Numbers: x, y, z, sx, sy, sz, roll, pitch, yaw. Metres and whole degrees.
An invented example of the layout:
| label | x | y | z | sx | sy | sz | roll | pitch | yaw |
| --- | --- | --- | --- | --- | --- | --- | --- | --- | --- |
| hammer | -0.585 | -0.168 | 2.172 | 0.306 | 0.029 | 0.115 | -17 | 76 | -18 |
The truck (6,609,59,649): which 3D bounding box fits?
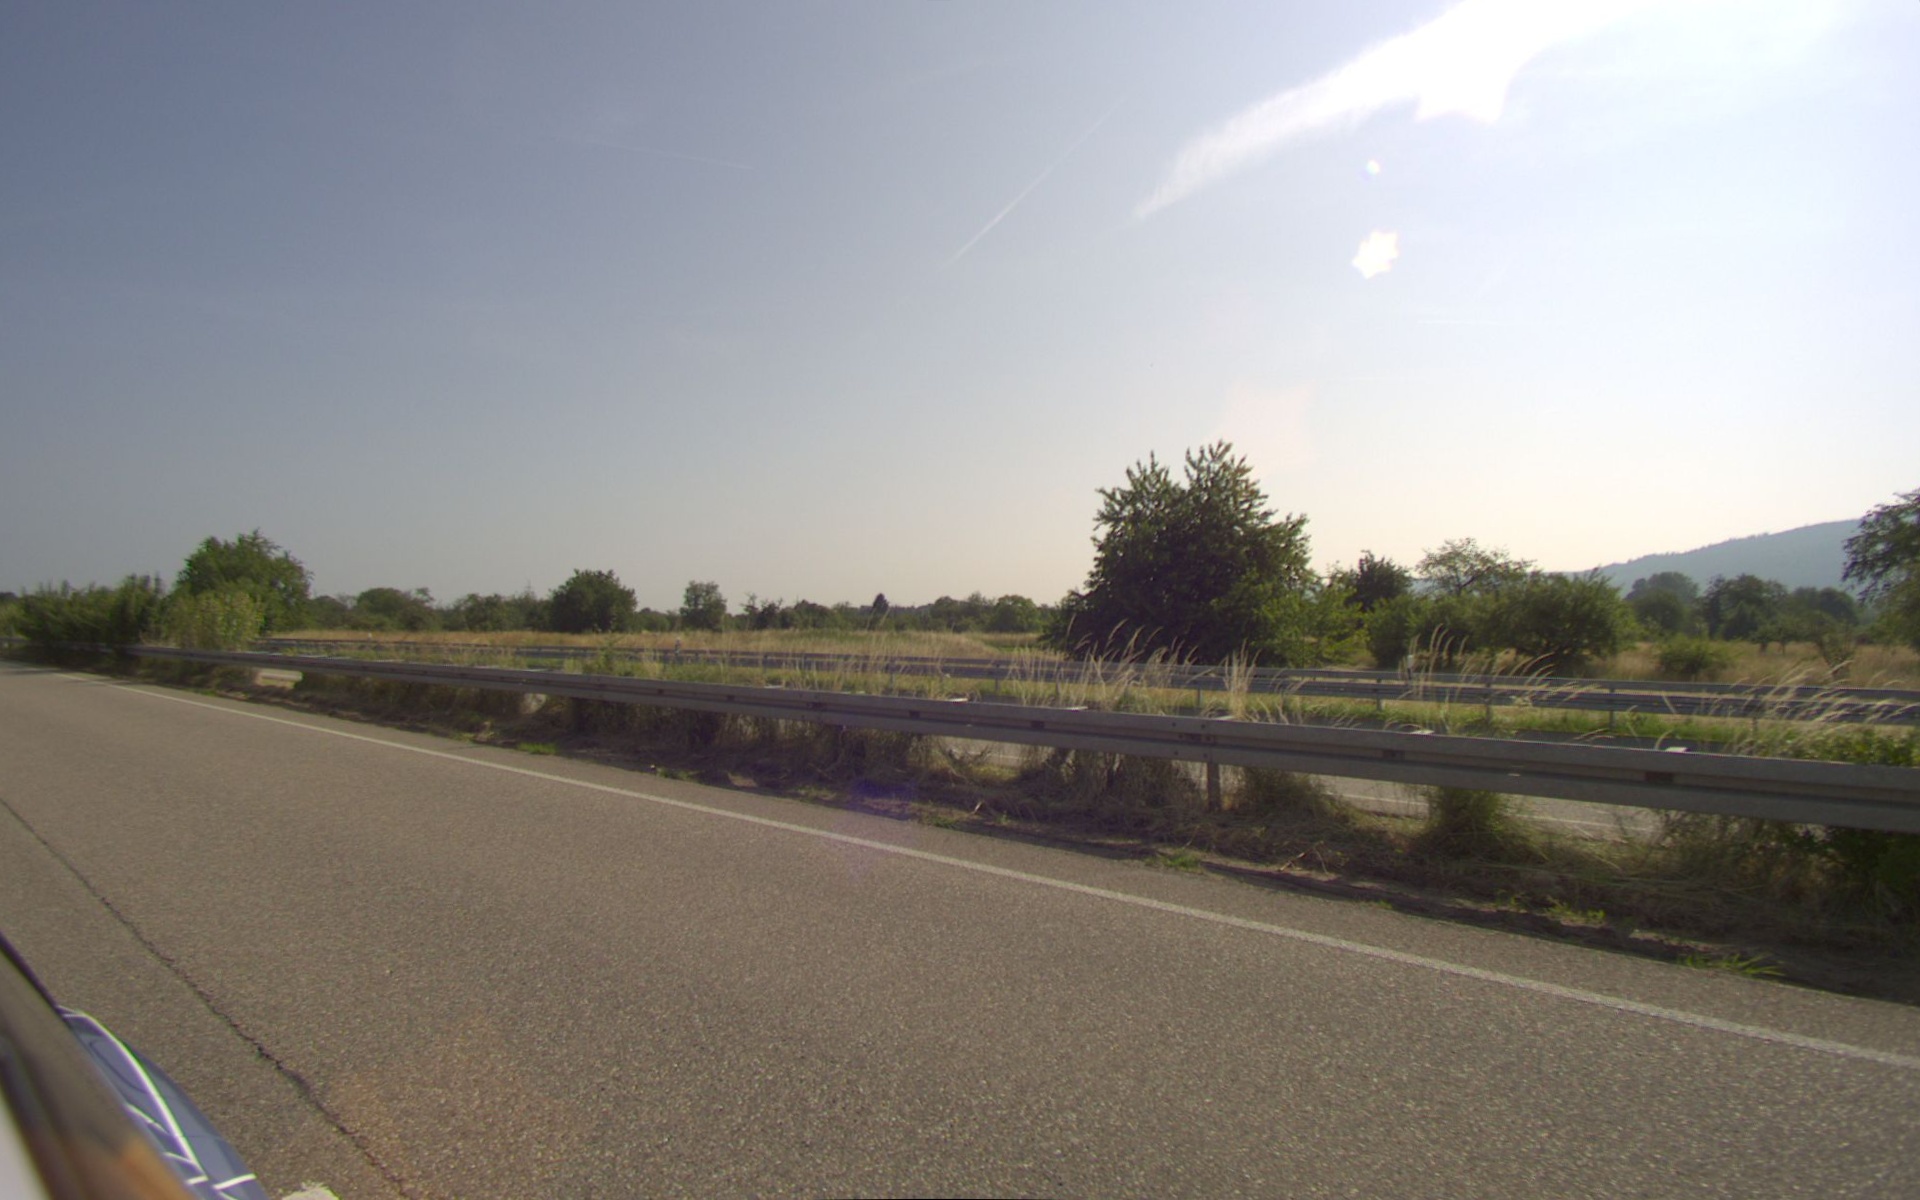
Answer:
| label | x | y | z | sx | sy | sz | roll | pitch | yaw |
| --- | --- | --- | --- | --- | --- | --- | --- | --- | --- |
| truck | -88.075 | 2.706 | 96.028 | 10.380 | 3.616 | 2.575 | -1 | -2 | 41 |
